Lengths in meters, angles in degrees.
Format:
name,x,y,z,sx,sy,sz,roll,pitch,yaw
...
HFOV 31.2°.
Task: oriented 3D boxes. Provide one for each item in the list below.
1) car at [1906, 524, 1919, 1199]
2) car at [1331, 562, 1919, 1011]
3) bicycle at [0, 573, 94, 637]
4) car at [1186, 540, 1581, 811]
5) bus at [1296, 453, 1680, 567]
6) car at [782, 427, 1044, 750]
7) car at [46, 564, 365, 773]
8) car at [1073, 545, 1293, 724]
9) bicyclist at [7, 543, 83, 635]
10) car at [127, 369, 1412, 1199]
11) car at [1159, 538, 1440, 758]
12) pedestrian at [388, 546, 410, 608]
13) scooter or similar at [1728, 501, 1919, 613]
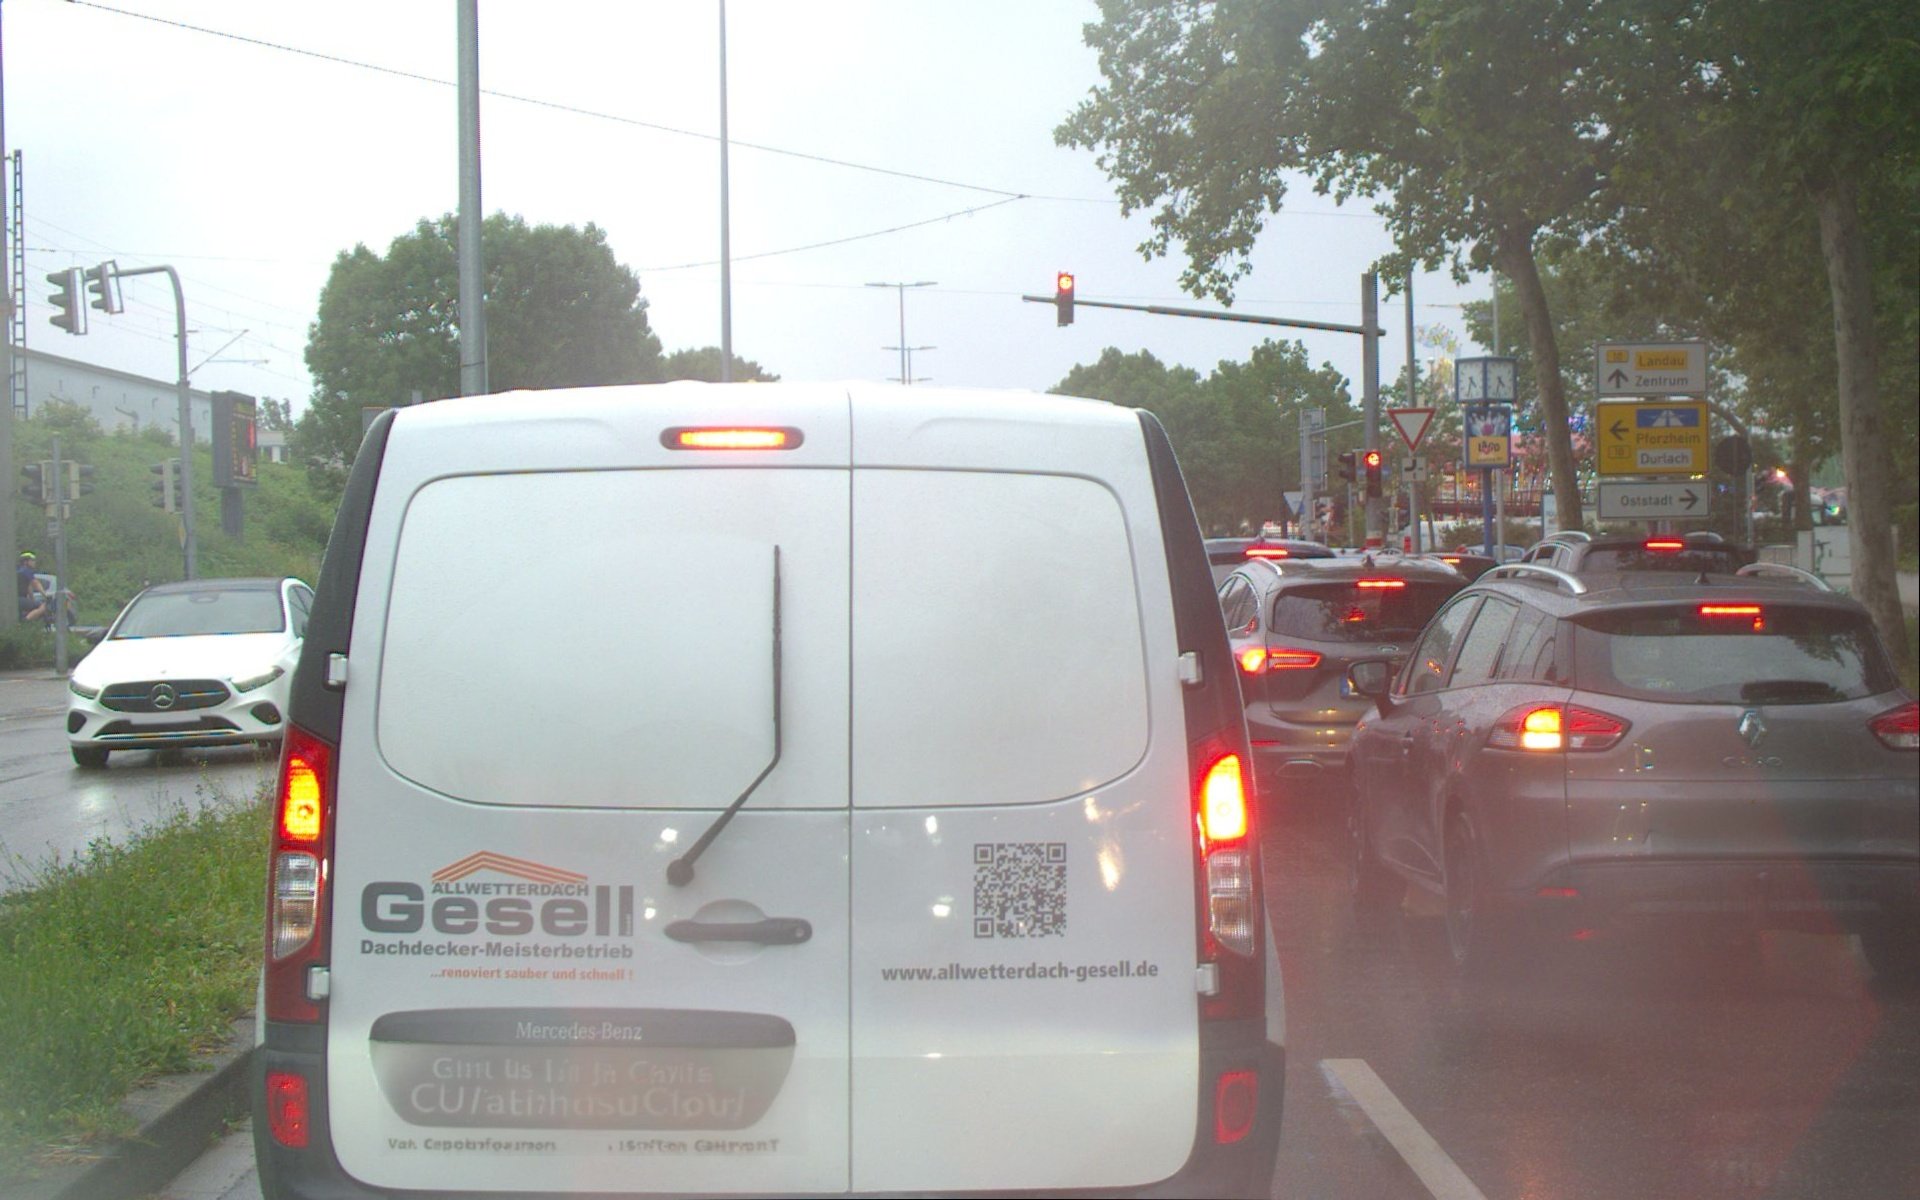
name,x,y,z,sx,sy,sz,roll,pitch,yaw
car,2.975,0.648,5.406,1.747,1.549,4.091,0,1,-1
car,2.515,0.586,13.075,1.683,1.403,3.843,1,1,-1
bicycle,-14.811,0.064,55.574,1.040,0.949,2.889,-2,2,-25
car,2.430,0.376,20.629,1.854,1.455,3.843,0,1,-1
bus,16.958,-2.909,110.873,11.970,3.411,2.315,-1,1,0
car,-0.355,-0.120,26.354,1.854,2.288,3.843,0,1,-1
car,-6.153,0.517,28.461,1.734,1.514,4.048,-3,0,-1
car,2.114,0.298,33.521,1.854,1.644,3.843,0,1,-1
bicyclist,-14.781,-0.181,55.507,1.040,1.445,0.729,-2,2,-25
car,-0.318,0.480,7.648,1.993,1.770,4.585,0,1,-1
car,2.671,0.325,27.857,1.854,1.644,3.843,0,1,-1
pedestrian,-15.720,-0.639,96.278,0.543,1.710,0.563,1,0,-4
scooter or similar,19.985,-0.979,77.058,1.890,2.437,5.316,-1,1,-41
